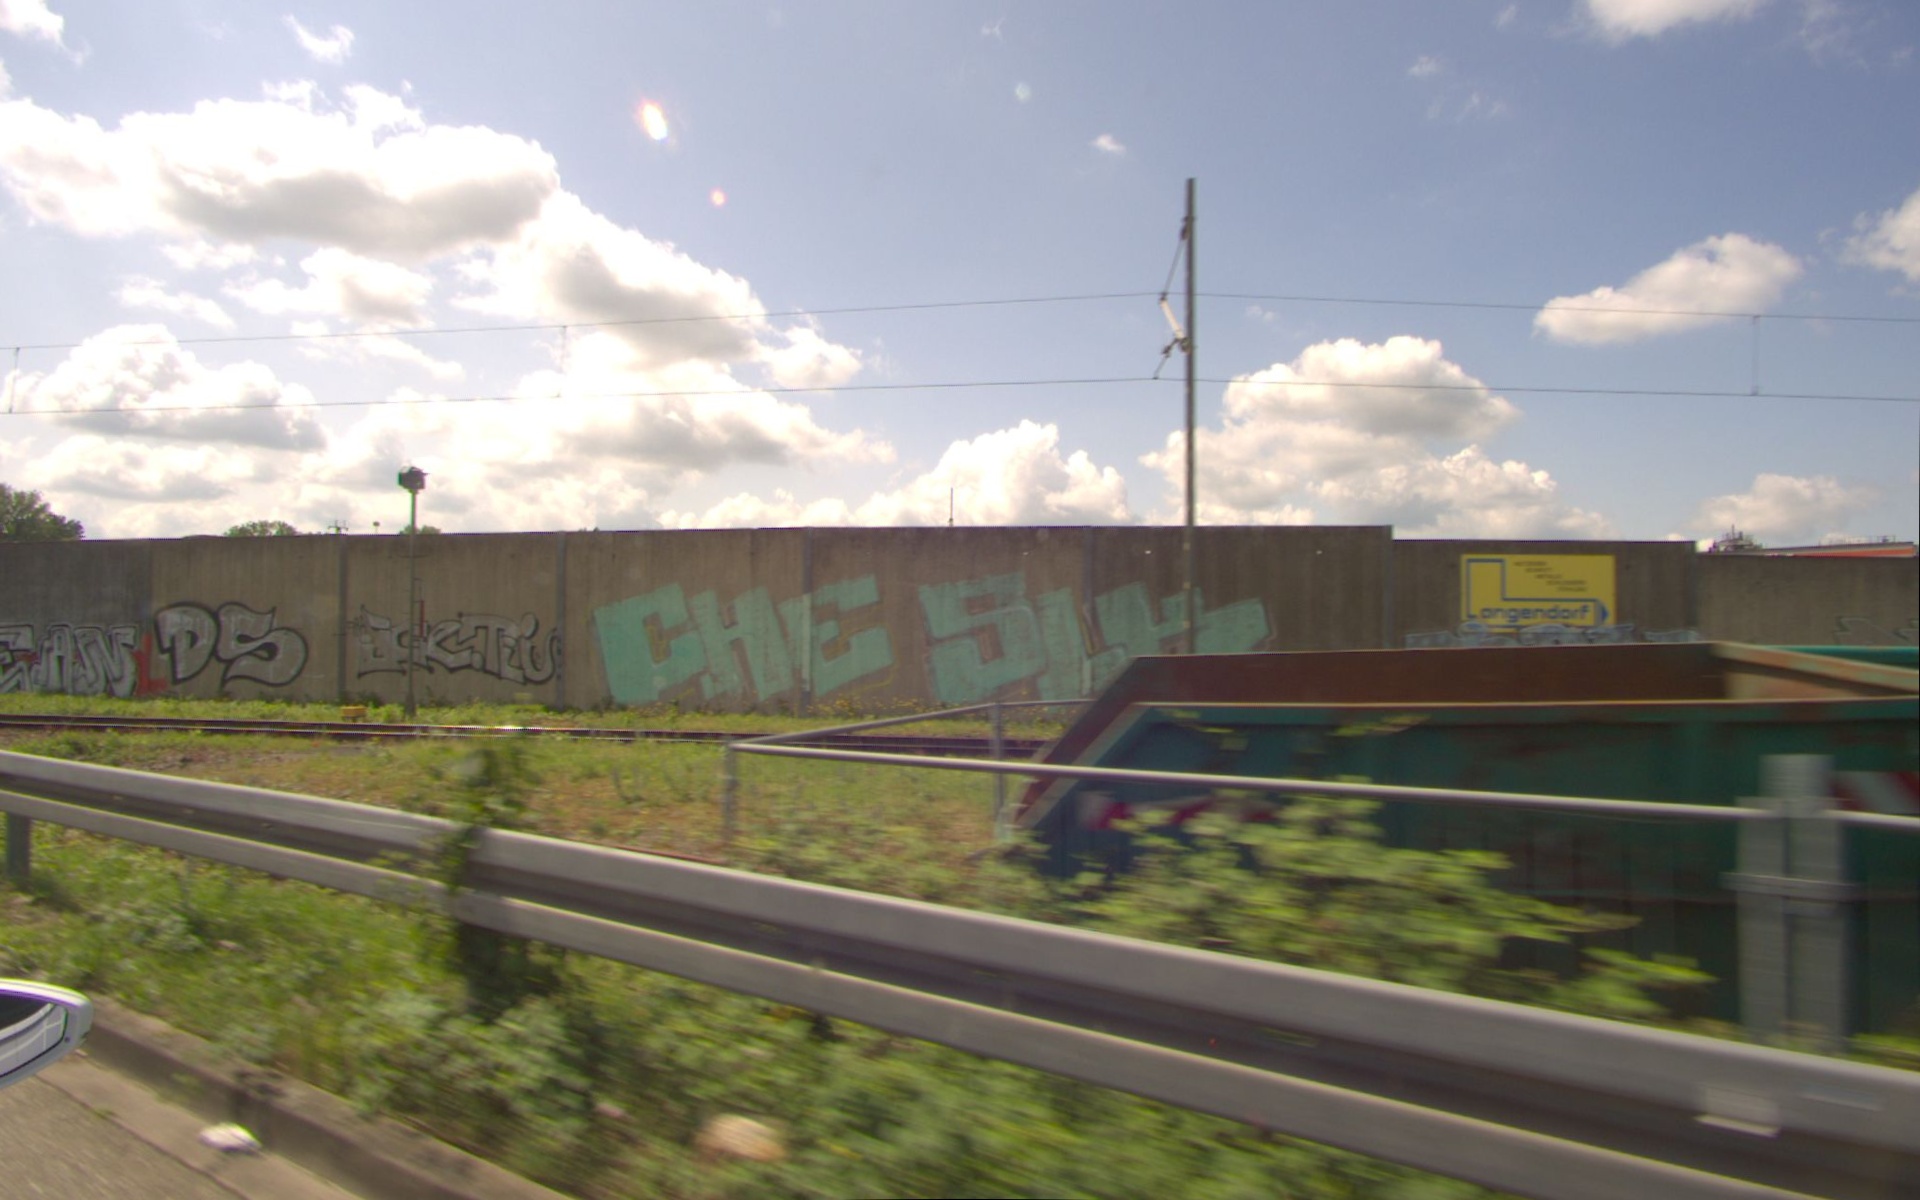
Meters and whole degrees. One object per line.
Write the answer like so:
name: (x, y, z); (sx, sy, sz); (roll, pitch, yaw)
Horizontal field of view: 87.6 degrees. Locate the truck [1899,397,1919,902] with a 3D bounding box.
truck: (10.413, 0.312, 5.146); (7.956, 3.463, 2.996); (0, -1, 6)
